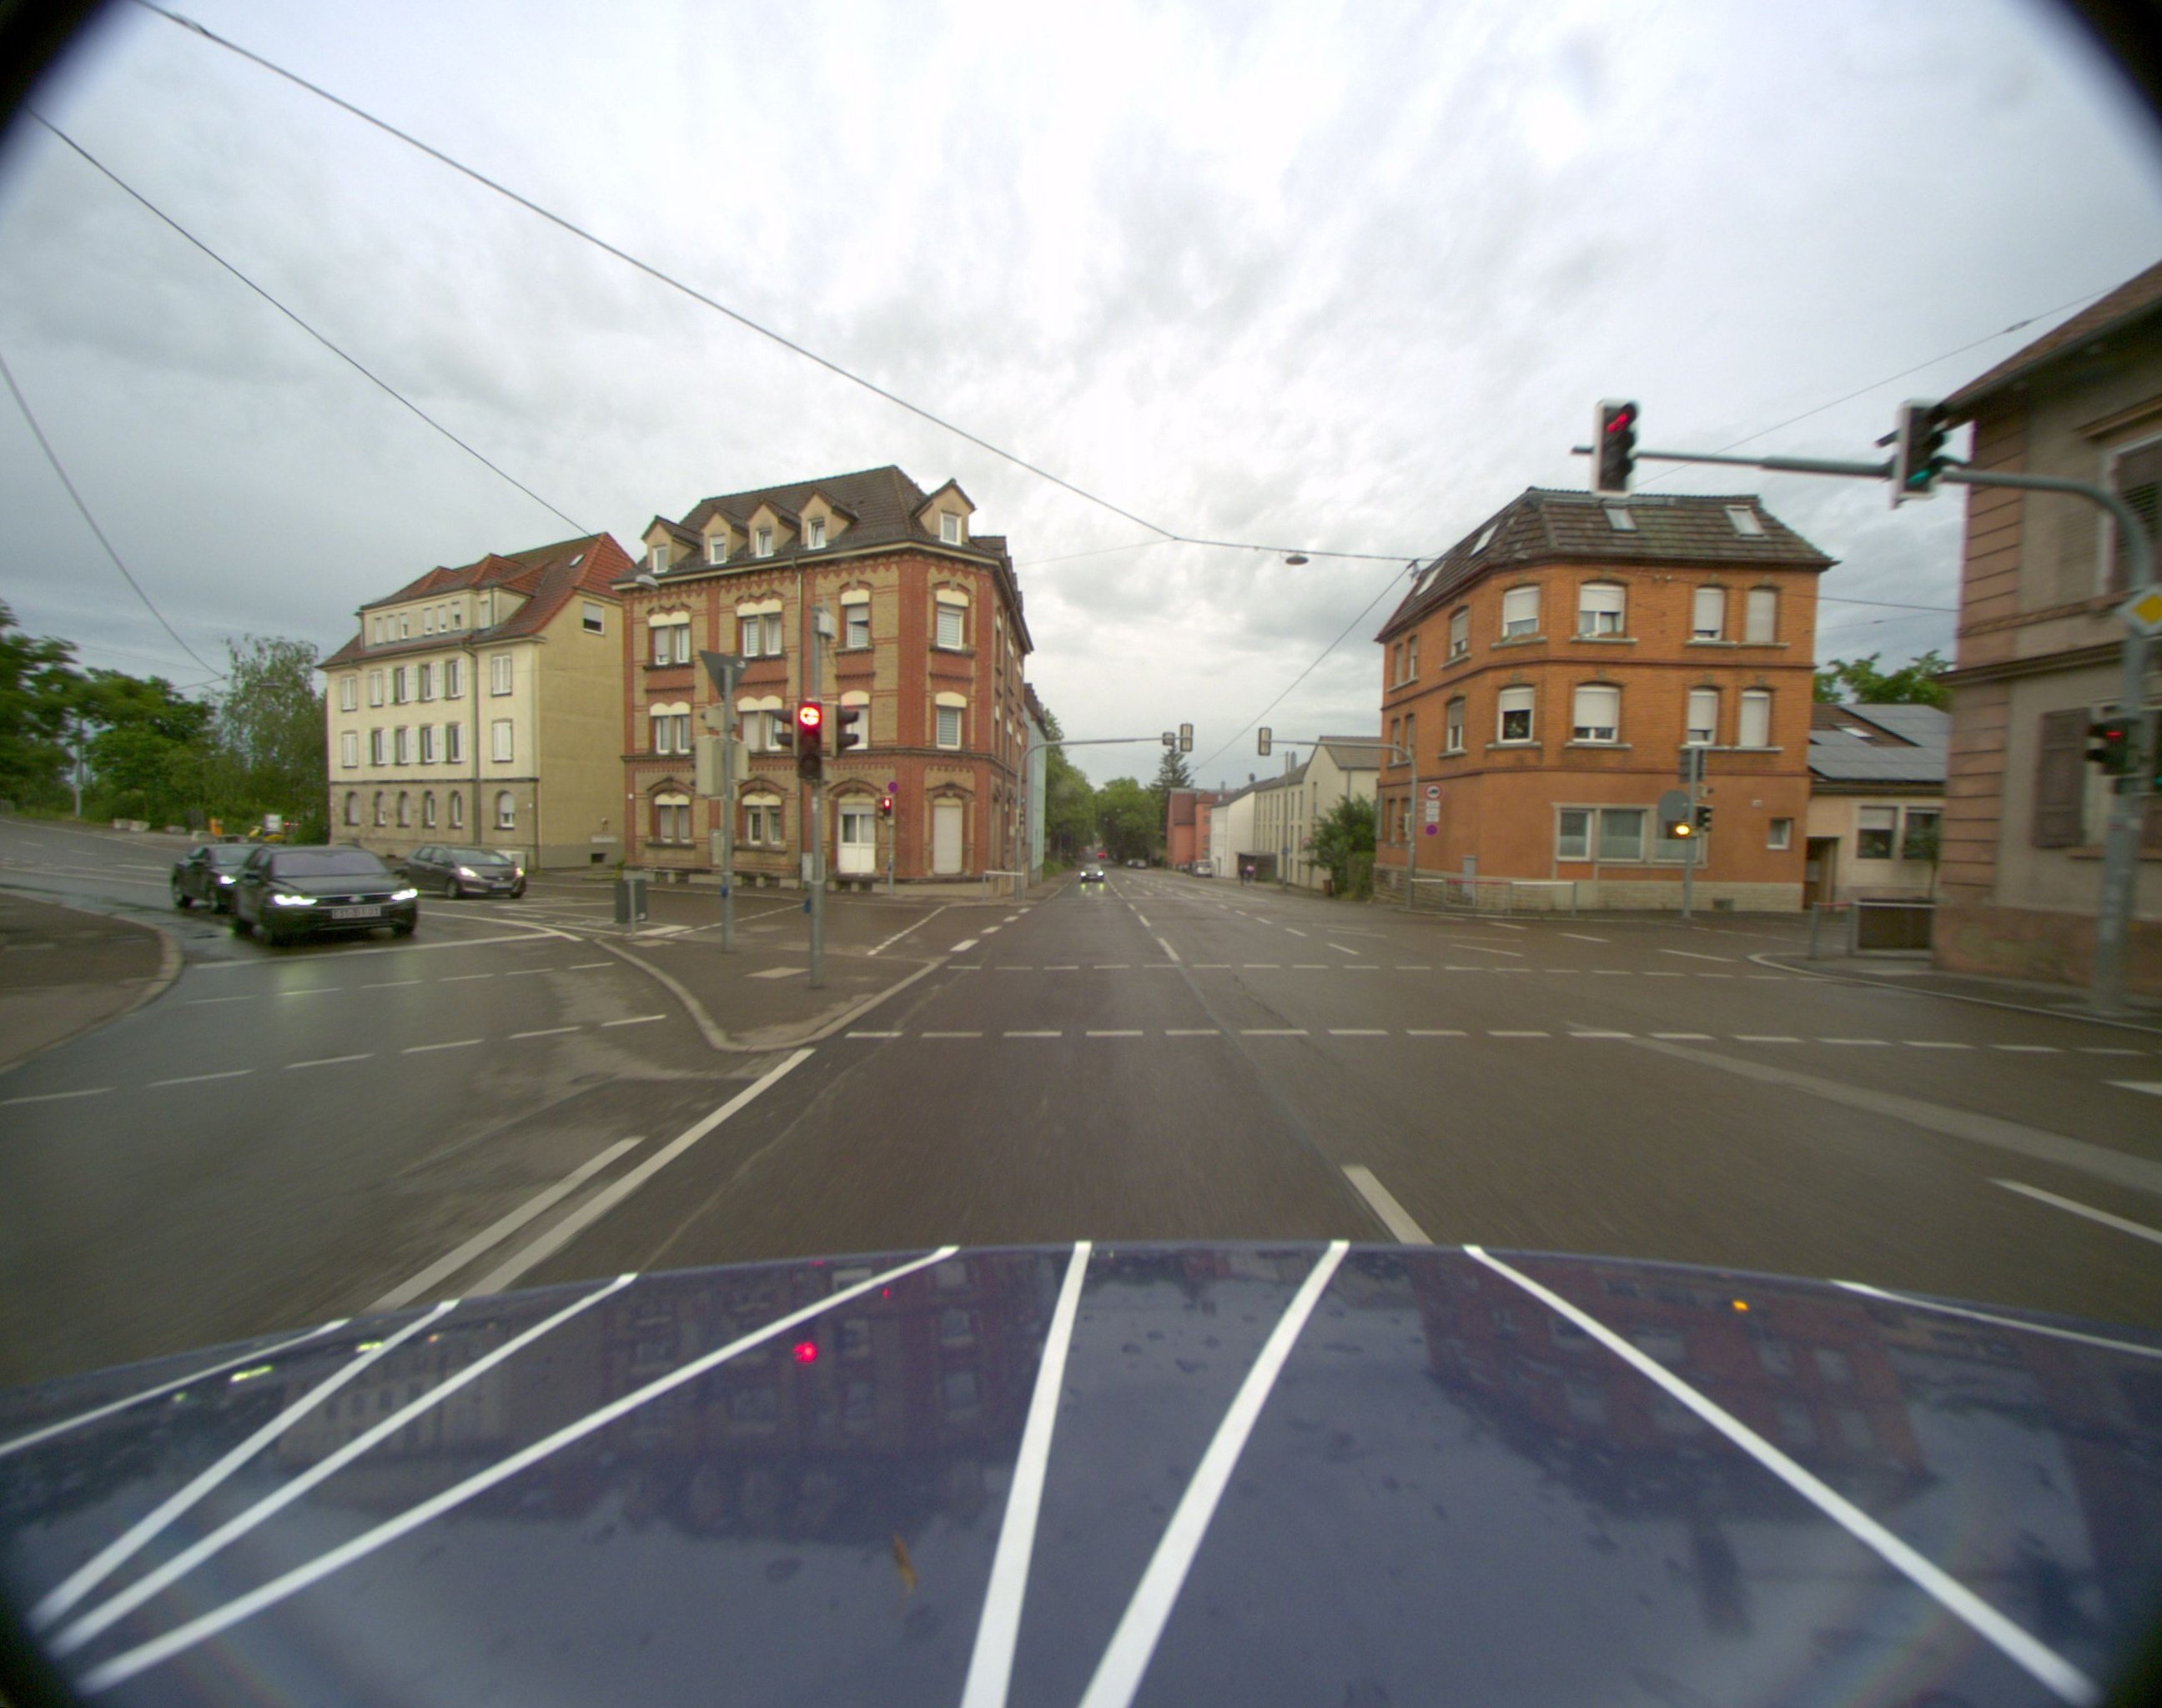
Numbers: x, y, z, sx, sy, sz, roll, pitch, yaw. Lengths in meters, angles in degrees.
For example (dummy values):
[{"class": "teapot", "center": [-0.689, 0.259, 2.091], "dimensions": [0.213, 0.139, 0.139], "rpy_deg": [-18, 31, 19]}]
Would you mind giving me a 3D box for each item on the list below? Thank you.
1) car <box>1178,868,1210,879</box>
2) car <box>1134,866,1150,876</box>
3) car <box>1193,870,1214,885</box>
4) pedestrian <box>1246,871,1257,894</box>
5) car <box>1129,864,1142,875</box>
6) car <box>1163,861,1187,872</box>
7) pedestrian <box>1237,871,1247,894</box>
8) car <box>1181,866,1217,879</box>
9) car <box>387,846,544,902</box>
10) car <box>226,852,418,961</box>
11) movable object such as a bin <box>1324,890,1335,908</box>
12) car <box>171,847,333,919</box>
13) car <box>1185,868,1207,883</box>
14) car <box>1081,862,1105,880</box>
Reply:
[{"class": "car", "center": [15.582, 2.695, 105.092], "dimensions": [4.171, 1.425, 2.000], "rpy_deg": [-1, 0, 3]}, {"class": "car", "center": [9.169, 2.580, 114.542], "dimensions": [1.789, 1.402, 4.198], "rpy_deg": [3, 0, -2]}, {"class": "car", "center": [13.303, 2.509, 82.699], "dimensions": [1.749, 1.499, 4.178], "rpy_deg": [1, 0, 1]}, {"class": "pedestrian", "center": [12.761, 2.158, 56.907], "dimensions": [0.641, 1.696, 0.911], "rpy_deg": [0, 0, 2]}, {"class": "car", "center": [8.955, 2.543, 125.832], "dimensions": [1.816, 1.537, 4.199], "rpy_deg": [4, 0, 1]}, {"class": "car", "center": [16.317, 2.159, 131.935], "dimensions": [3.994, 2.002, 2.001], "rpy_deg": [0, 0, 8]}, {"class": "pedestrian", "center": [12.061, 2.158, 56.931], "dimensions": [0.641, 1.696, 0.911], "rpy_deg": [0, 0, 2]}, {"class": "car", "center": [15.917, 2.487, 102.583], "dimensions": [4.542, 1.599, 2.153], "rpy_deg": [-1, 0, 3]}, {"class": "car", "center": [-17.880, 0.560, 22.083], "dimensions": [3.990, 1.445, 1.847], "rpy_deg": [1, -1, 23]}, {"class": "car", "center": [-13.902, 0.822, 13.858], "dimensions": [4.242, 1.653, 1.809], "rpy_deg": [1, 1, 36]}, {"class": "movable object such as a bin", "center": [13.453, 2.430, 41.151], "dimensions": [0.410, 0.919, 0.526], "rpy_deg": [-1, 1, -6]}, {"class": "car", "center": [-19.800, 0.617, 18.112], "dimensions": [4.243, 1.496, 1.808], "rpy_deg": [1, 1, 31]}, {"class": "car", "center": [13.612, 2.532, 89.879], "dimensions": [1.750, 1.543, 4.082], "rpy_deg": [-1, 0, -3]}, {"class": "car", "center": [0.974, 1.336, 61.109], "dimensions": [1.842, 1.403, 4.000], "rpy_deg": [1, 0, 1]}]
